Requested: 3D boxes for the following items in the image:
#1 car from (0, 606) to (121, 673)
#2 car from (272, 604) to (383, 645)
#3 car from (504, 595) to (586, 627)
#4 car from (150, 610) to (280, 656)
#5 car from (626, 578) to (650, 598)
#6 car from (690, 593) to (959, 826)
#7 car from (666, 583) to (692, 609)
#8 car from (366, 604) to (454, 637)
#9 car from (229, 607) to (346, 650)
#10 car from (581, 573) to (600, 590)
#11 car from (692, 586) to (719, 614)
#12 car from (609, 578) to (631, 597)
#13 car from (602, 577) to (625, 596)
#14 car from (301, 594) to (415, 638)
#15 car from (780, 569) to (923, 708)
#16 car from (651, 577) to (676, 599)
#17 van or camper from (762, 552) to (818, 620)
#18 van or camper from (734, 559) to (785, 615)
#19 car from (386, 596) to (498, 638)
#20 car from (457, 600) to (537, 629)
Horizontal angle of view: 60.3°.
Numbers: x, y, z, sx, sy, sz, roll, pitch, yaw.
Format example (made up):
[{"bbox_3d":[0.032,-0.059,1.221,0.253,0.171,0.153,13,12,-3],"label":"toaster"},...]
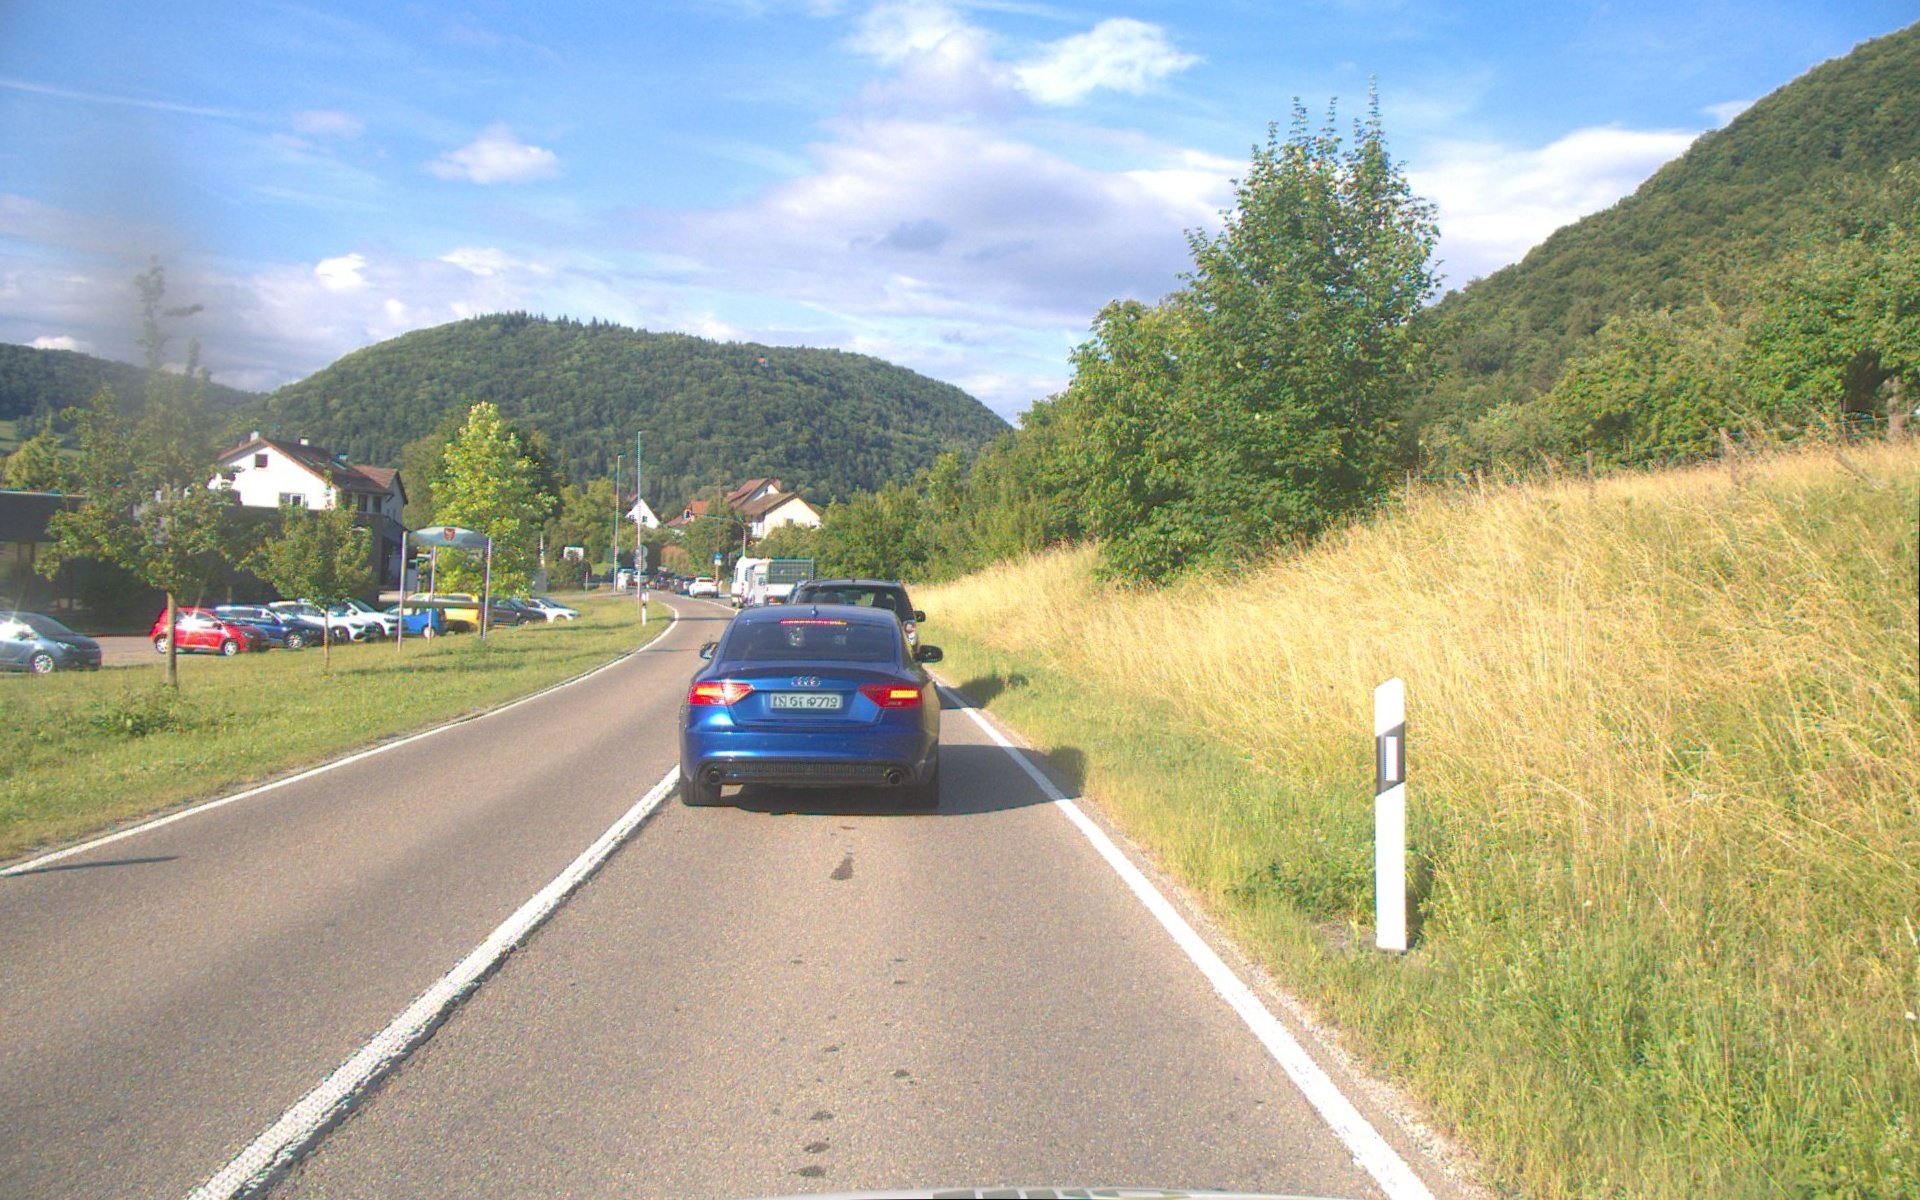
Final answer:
[{"bbox_3d":[-24.878,1.039,44.484,3.738,1.752,1.733,0,0,3],"label":"car"},{"bbox_3d":[-24.048,0.914,62.937,3.589,1.520,1.598,0,1,4],"label":"car"},{"bbox_3d":[-22.379,0.573,89.220,3.950,1.689,1.657,0,0,4],"label":"car"},{"bbox_3d":[-24.550,1.090,54.593,3.548,1.469,1.649,0,0,4],"label":"car"},{"bbox_3d":[-31.560,-1.162,161.852,1.653,1.958,3.975,0,0,-21],"label":"car"},{"bbox_3d":[-1.003,0.685,12.301,1.708,1.476,3.513,0,0,-5],"label":"car"},{"bbox_3d":[-21.818,-0.331,128.356,1.632,1.958,3.984,0,0,-15],"label":"car"},{"bbox_3d":[-24.004,0.903,72.196,3.302,1.397,1.659,0,0,-3],"label":"car"},{"bbox_3d":[-24.191,1.018,59.556,3.548,1.429,1.598,0,2,4],"label":"car"},{"bbox_3d":[-43.414,-2.119,194.160,1.652,1.958,3.976,0,0,-20],"label":"car"},{"bbox_3d":[-18.171,0.000,118.115,1.631,1.958,3.987,0,0,-13],"label":"car"},{"bbox_3d":[-35.069,-1.292,170.474,1.652,1.958,3.976,0,0,-20],"label":"car"},{"bbox_3d":[-37.299,-1.439,178.047,1.926,1.958,3.976,0,0,-20],"label":"car"},{"bbox_3d":[-24.072,0.642,66.212,3.991,1.702,1.598,0,1,4],"label":"car"},{"bbox_3d":[-1.507,0.457,21.844,1.614,1.653,3.511,2,0,-8],"label":"car"},{"bbox_3d":[-26.467,-1.083,147.631,1.652,1.958,3.978,0,0,-19],"label":"car"},{"bbox_3d":[-6.776,-0.533,65.345,2.013,2.549,5.801,0,0,-8],"label":"van or camper"},{"bbox_3d":[-10.297,-0.642,84.516,2.240,2.761,5.752,0,0,-10],"label":"van or camper"},{"bbox_3d":[-23.413,0.748,74.836,4.457,1.846,1.842,0,0,4],"label":"car"},{"bbox_3d":[-23.765,0.718,85.003,3.634,1.464,1.510,0,0,4],"label":"car"}]
